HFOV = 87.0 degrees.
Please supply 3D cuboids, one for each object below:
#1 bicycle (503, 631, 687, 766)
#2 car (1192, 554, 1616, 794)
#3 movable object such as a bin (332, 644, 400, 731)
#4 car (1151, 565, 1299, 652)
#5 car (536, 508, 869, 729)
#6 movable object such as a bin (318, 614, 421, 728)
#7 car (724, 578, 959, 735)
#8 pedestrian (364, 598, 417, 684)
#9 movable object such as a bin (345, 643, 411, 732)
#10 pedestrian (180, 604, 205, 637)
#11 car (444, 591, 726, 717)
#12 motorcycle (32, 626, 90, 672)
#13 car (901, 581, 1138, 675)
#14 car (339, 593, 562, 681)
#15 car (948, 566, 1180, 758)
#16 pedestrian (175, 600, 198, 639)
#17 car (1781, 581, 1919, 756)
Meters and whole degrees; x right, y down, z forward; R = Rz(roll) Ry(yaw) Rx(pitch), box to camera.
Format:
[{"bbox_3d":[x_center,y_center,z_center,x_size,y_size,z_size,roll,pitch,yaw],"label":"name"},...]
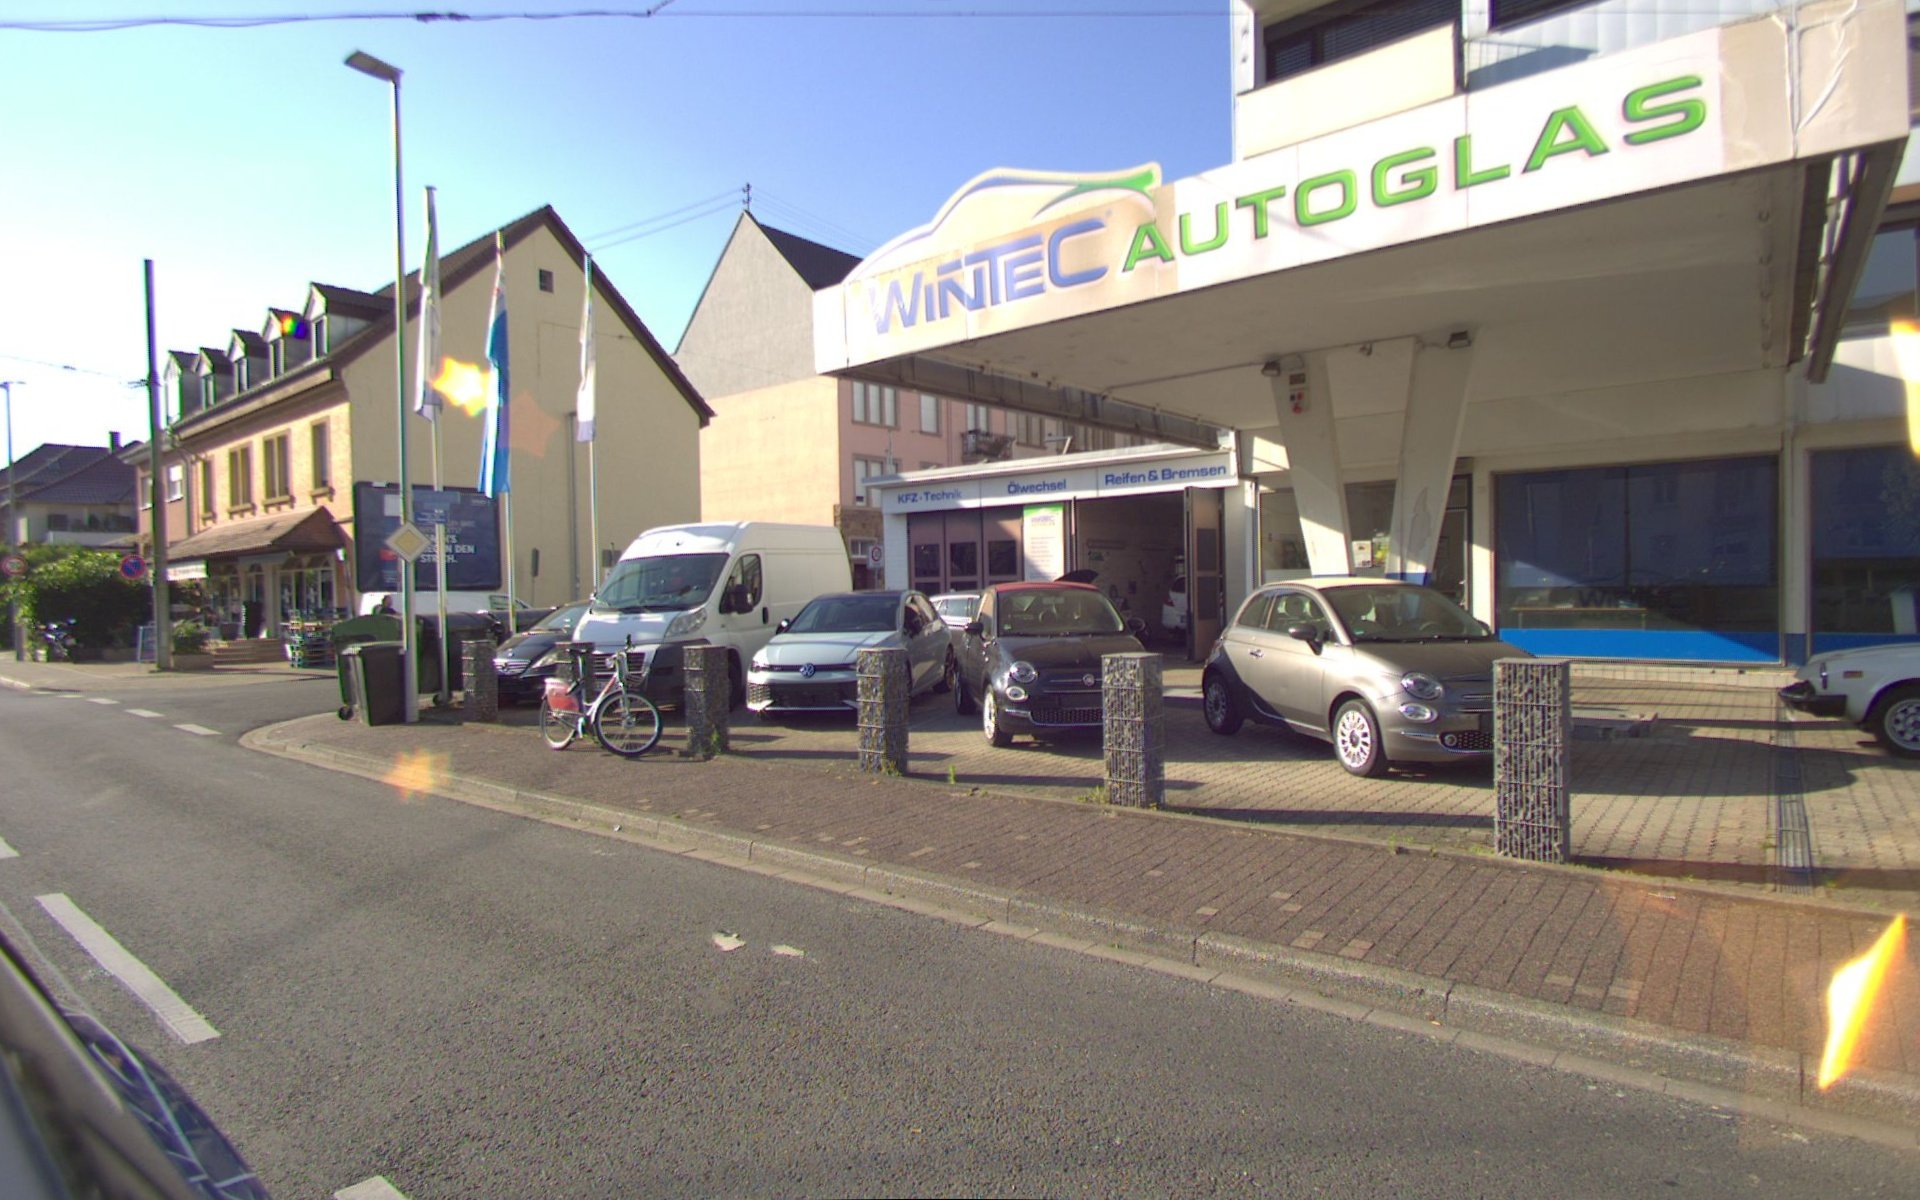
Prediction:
[{"bbox_3d":[-3.586,0.914,9.912,1.774,1.186,0.718,-1,0,31],"label":"bicycle"},{"bbox_3d":[3.462,0.481,8.617,1.595,1.580,3.402,-2,1,-11],"label":"car"},{"bbox_3d":[-8.006,1.163,13.641,0.652,1.070,0.586,-5,1,-38],"label":"movable object such as a bin"},{"bbox_3d":[6.025,0.136,22.672,1.769,1.722,4.264,-2,1,36],"label":"car"},{"bbox_3d":[-3.256,0.175,14.135,2.091,2.488,5.042,-2,1,18],"label":"car"},{"bbox_3d":[-8.522,1.010,14.671,1.040,1.494,1.316,-3,-2,-22],"label":"movable object such as a bin"},{"bbox_3d":[-1.256,0.560,12.507,1.754,1.580,3.987,-2,1,10],"label":"car"},{"bbox_3d":[-12.910,0.918,22.937,0.820,1.882,0.784,-2,0,42],"label":"pedestrian"},{"bbox_3d":[-7.572,1.133,13.171,0.631,1.077,0.581,-2,-2,-38],"label":"movable object such as a bin"},{"bbox_3d":[-24.966,0.651,32.916,0.381,1.055,0.521,-1,0,23],"label":"pedestrian"},{"bbox_3d":[-5.624,0.741,15.701,1.763,1.580,3.966,-2,1,25],"label":"car"},{"bbox_3d":[-26.834,1.439,30.200,2.228,1.292,0.831,-1,1,37],"label":"motorcycle"},{"bbox_3d":[1.069,0.529,19.555,4.310,1.580,1.750,-2,1,39],"label":"car"},{"bbox_3d":[-12.617,0.831,25.339,1.997,1.947,4.571,-1,0,38],"label":"car"},{"bbox_3d":[0.876,0.505,10.308,1.597,1.580,3.399,-2,1,-7],"label":"car"},{"bbox_3d":[-25.838,0.647,33.817,0.465,1.268,0.518,-1,0,41],"label":"pedestrian"},{"bbox_3d":[8.751,0.457,7.403,4.131,1.294,1.572,-3,0,36],"label":"car"}]
